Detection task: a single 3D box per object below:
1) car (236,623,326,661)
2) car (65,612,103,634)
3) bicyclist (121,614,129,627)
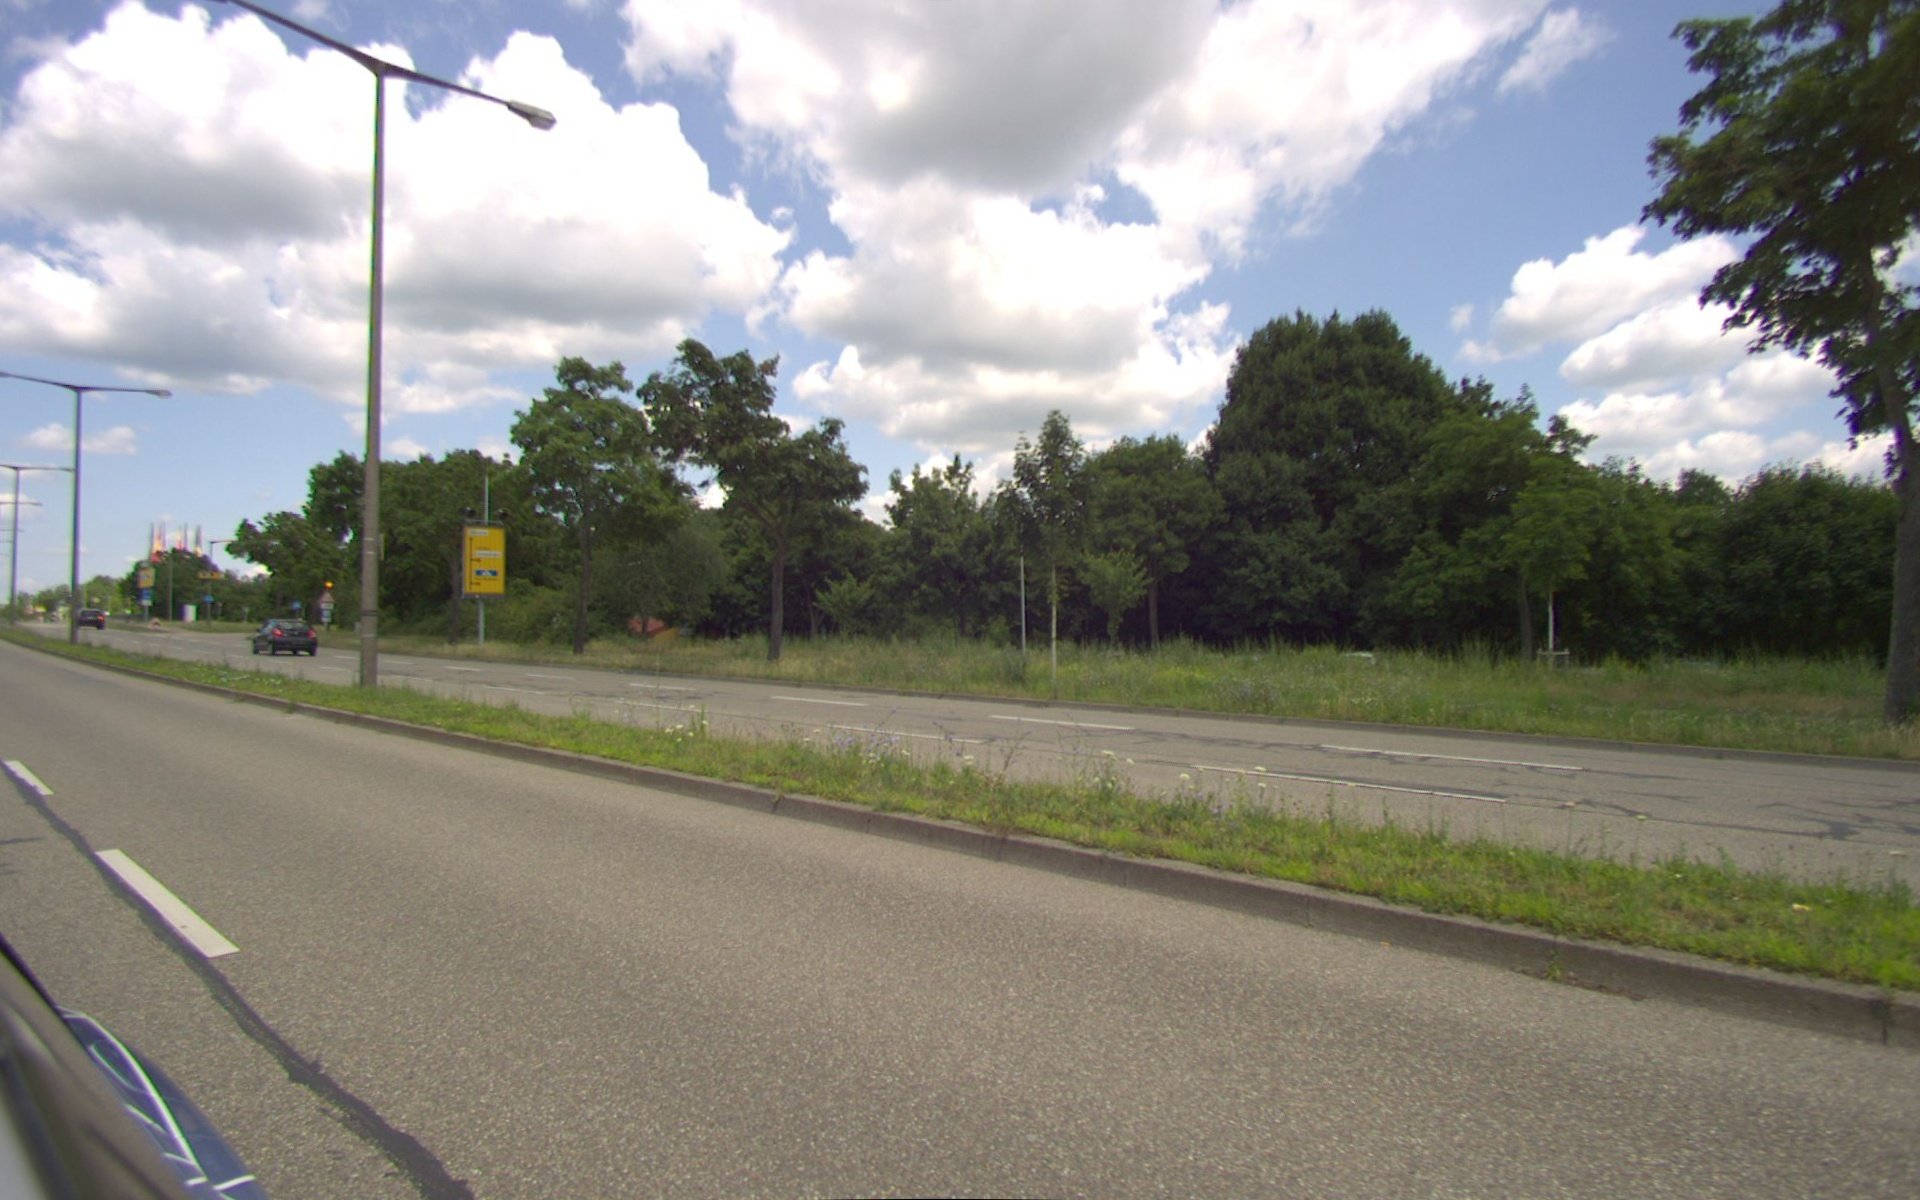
[{"bbox_3d":[-27.349,1.663,40.763,3.663,1.438,1.688,0,-2,33],"label":"car"},{"bbox_3d":[-75.554,1.991,87.292,4.727,1.804,1.856,-1,-4,42],"label":"car"},{"bbox_3d":[-87.253,2.161,105.737,1.106,1.282,0.515,-3,-2,41],"label":"bicyclist"}]
